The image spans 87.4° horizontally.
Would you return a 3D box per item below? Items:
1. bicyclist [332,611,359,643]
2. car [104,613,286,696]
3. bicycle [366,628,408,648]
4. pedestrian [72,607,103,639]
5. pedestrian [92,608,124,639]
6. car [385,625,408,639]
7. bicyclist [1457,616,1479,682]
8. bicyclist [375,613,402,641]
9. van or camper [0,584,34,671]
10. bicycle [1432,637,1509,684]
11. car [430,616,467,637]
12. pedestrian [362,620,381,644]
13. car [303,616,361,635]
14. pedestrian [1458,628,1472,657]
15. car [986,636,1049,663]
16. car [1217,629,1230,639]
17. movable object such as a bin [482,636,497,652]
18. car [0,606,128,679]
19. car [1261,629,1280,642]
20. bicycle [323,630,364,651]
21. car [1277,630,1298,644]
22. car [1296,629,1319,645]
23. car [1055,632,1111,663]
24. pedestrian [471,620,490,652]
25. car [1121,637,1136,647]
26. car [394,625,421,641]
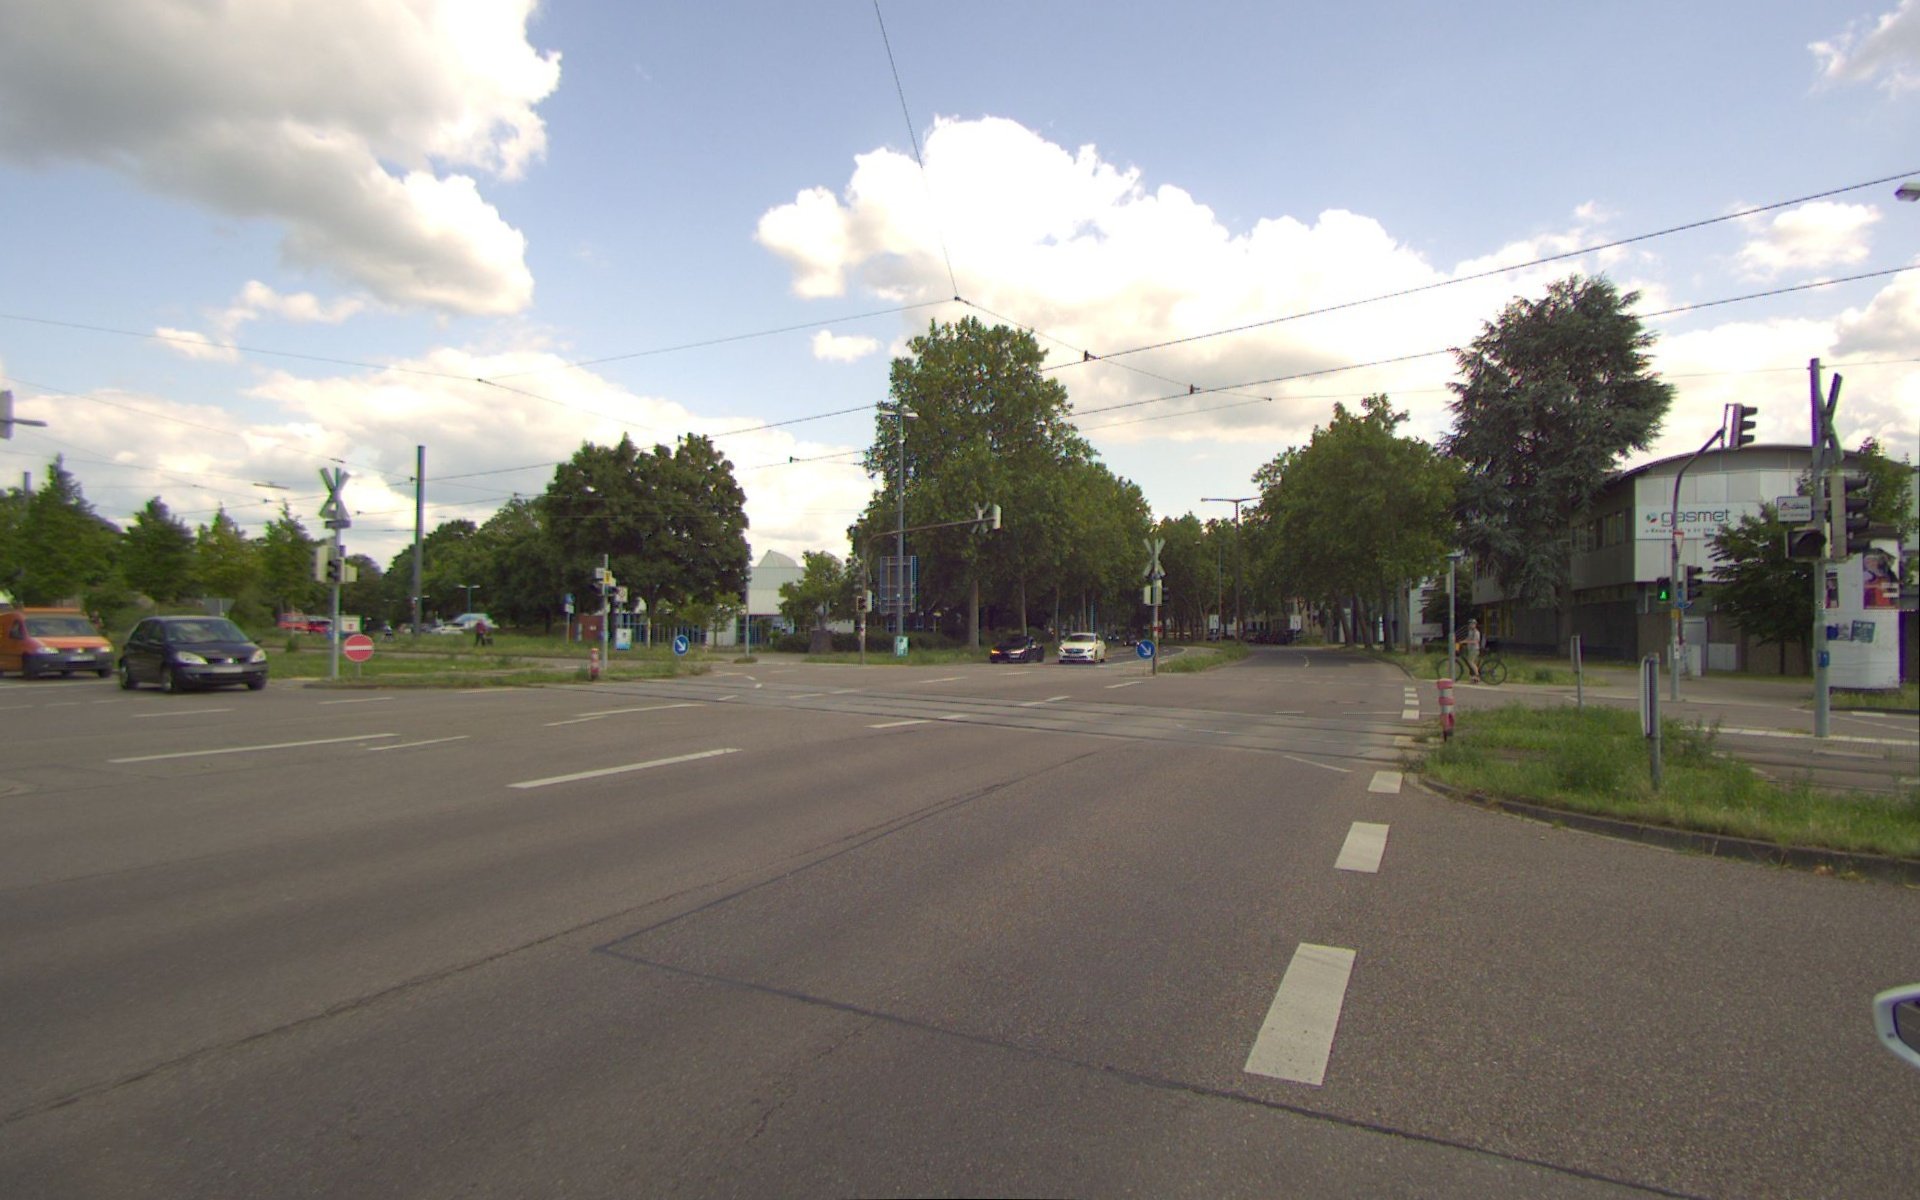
[{"bbox_3d":[-34.085,1.499,55.696,0.819,1.745,0.963,0,-1,20],"label":"bicyclist"},{"bbox_3d":[-16.686,1.132,21.884,3.980,1.652,1.733,0,-2,30],"label":"car"},{"bbox_3d":[-31.731,2.098,55.625,1.944,1.054,0.952,0,-1,17],"label":"bicycle"},{"bbox_3d":[-56.000,1.500,64.481,1.154,2.040,1.106,0,-1,23],"label":"pedestrian"},{"bbox_3d":[-55.619,1.546,65.576,1.154,2.040,1.106,0,-1,22],"label":"pedestrian"},{"bbox_3d":[-69.373,3.938,123.577,1.981,1.661,4.346,2,-2,-36],"label":"car"},{"bbox_3d":[14.410,1.383,28.488,0.535,1.834,0.540,0,1,31],"label":"bicyclist"},{"bbox_3d":[-31.642,1.491,55.610,0.819,1.509,0.964,0,-1,15],"label":"bicyclist"},{"bbox_3d":[-31.006,0.831,30.993,5.931,2.557,1.978,0,-2,31],"label":"van or camper"},{"bbox_3d":[14.449,1.707,28.471,1.918,1.252,0.540,0,1,32],"label":"bicycle"},{"bbox_3d":[-40.783,2.107,80.057,1.981,1.661,4.346,2,-2,-36],"label":"car"},{"bbox_3d":[-33.930,1.852,57.924,0.738,1.372,0.650,0,1,28],"label":"pedestrian"},{"bbox_3d":[-53.024,2.187,84.826,3.962,1.550,1.980,2,-2,-37],"label":"car"},{"bbox_3d":[28.194,2.342,56.086,0.610,1.590,0.559,0,1,22],"label":"pedestrian"},{"bbox_3d":[2.840,2.365,48.700,1.610,1.207,3.703,0,-2,29],"label":"car"},{"bbox_3d":[45.994,5.925,175.255,1.959,1.595,4.002,0,0,10],"label":"car"},{"bbox_3d":[-24.615,2.291,52.519,0.450,0.822,0.579,0,0,14],"label":"movable object such as a bin"},{"bbox_3d":[-24.542,1.101,27.148,4.294,1.823,1.880,0,-2,32],"label":"car"},{"bbox_3d":[41.764,4.828,135.320,1.959,1.595,4.002,0,0,10],"label":"car"},{"bbox_3d":[-34.221,2.240,55.754,1.945,1.169,0.952,0,-1,21],"label":"bicycle"},{"bbox_3d":[41.324,4.629,126.861,1.959,1.595,4.002,0,0,10],"label":"car"},{"bbox_3d":[39.761,4.242,115.048,1.959,1.595,4.002,0,0,10],"label":"car"},{"bbox_3d":[5.935,2.241,48.201,1.795,1.382,4.138,0,-2,20],"label":"car"},{"bbox_3d":[-25.118,1.876,52.641,0.625,1.666,0.613,0,1,14],"label":"pedestrian"},{"bbox_3d":[20.557,5.086,122.296,1.607,1.207,3.711,0,-2,7],"label":"car"},{"bbox_3d":[-58.408,3.500,106.117,1.981,1.661,4.346,2,-2,-36],"label":"car"}]
